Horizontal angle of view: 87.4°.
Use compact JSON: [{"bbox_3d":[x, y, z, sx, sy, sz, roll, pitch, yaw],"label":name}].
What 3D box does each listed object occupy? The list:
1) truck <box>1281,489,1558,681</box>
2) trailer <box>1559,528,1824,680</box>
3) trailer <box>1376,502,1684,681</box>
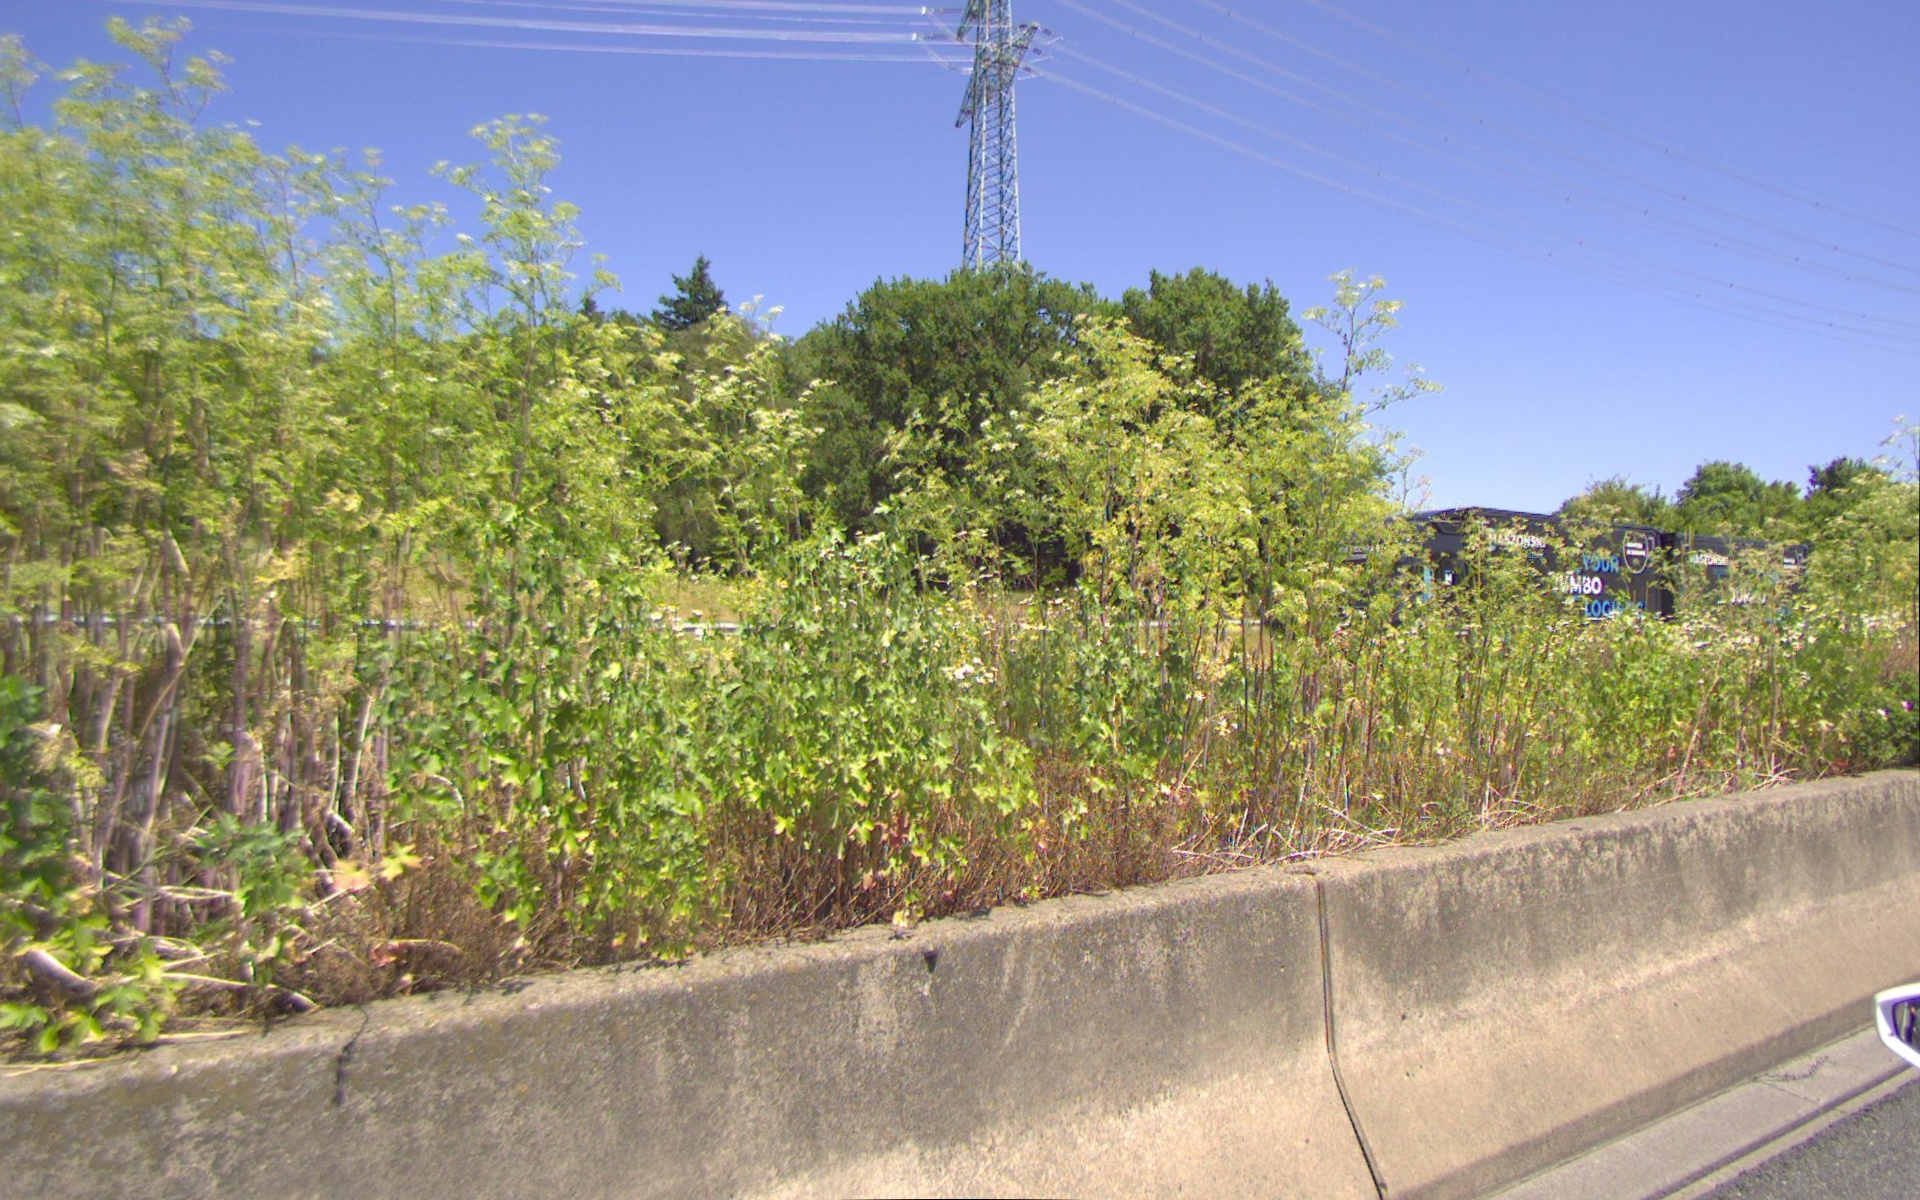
[{"bbox_3d":[10.229,-0.212,22.341,5.399,3.759,3.057,1,-1,-30],"label":"truck"},{"bbox_3d":[20.995,0.214,28.697,8.104,3.811,3.168,1,-1,-30],"label":"trailer"},{"bbox_3d":[14.098,-0.078,24.672,7.777,3.809,3.110,2,-1,-30],"label":"trailer"}]
